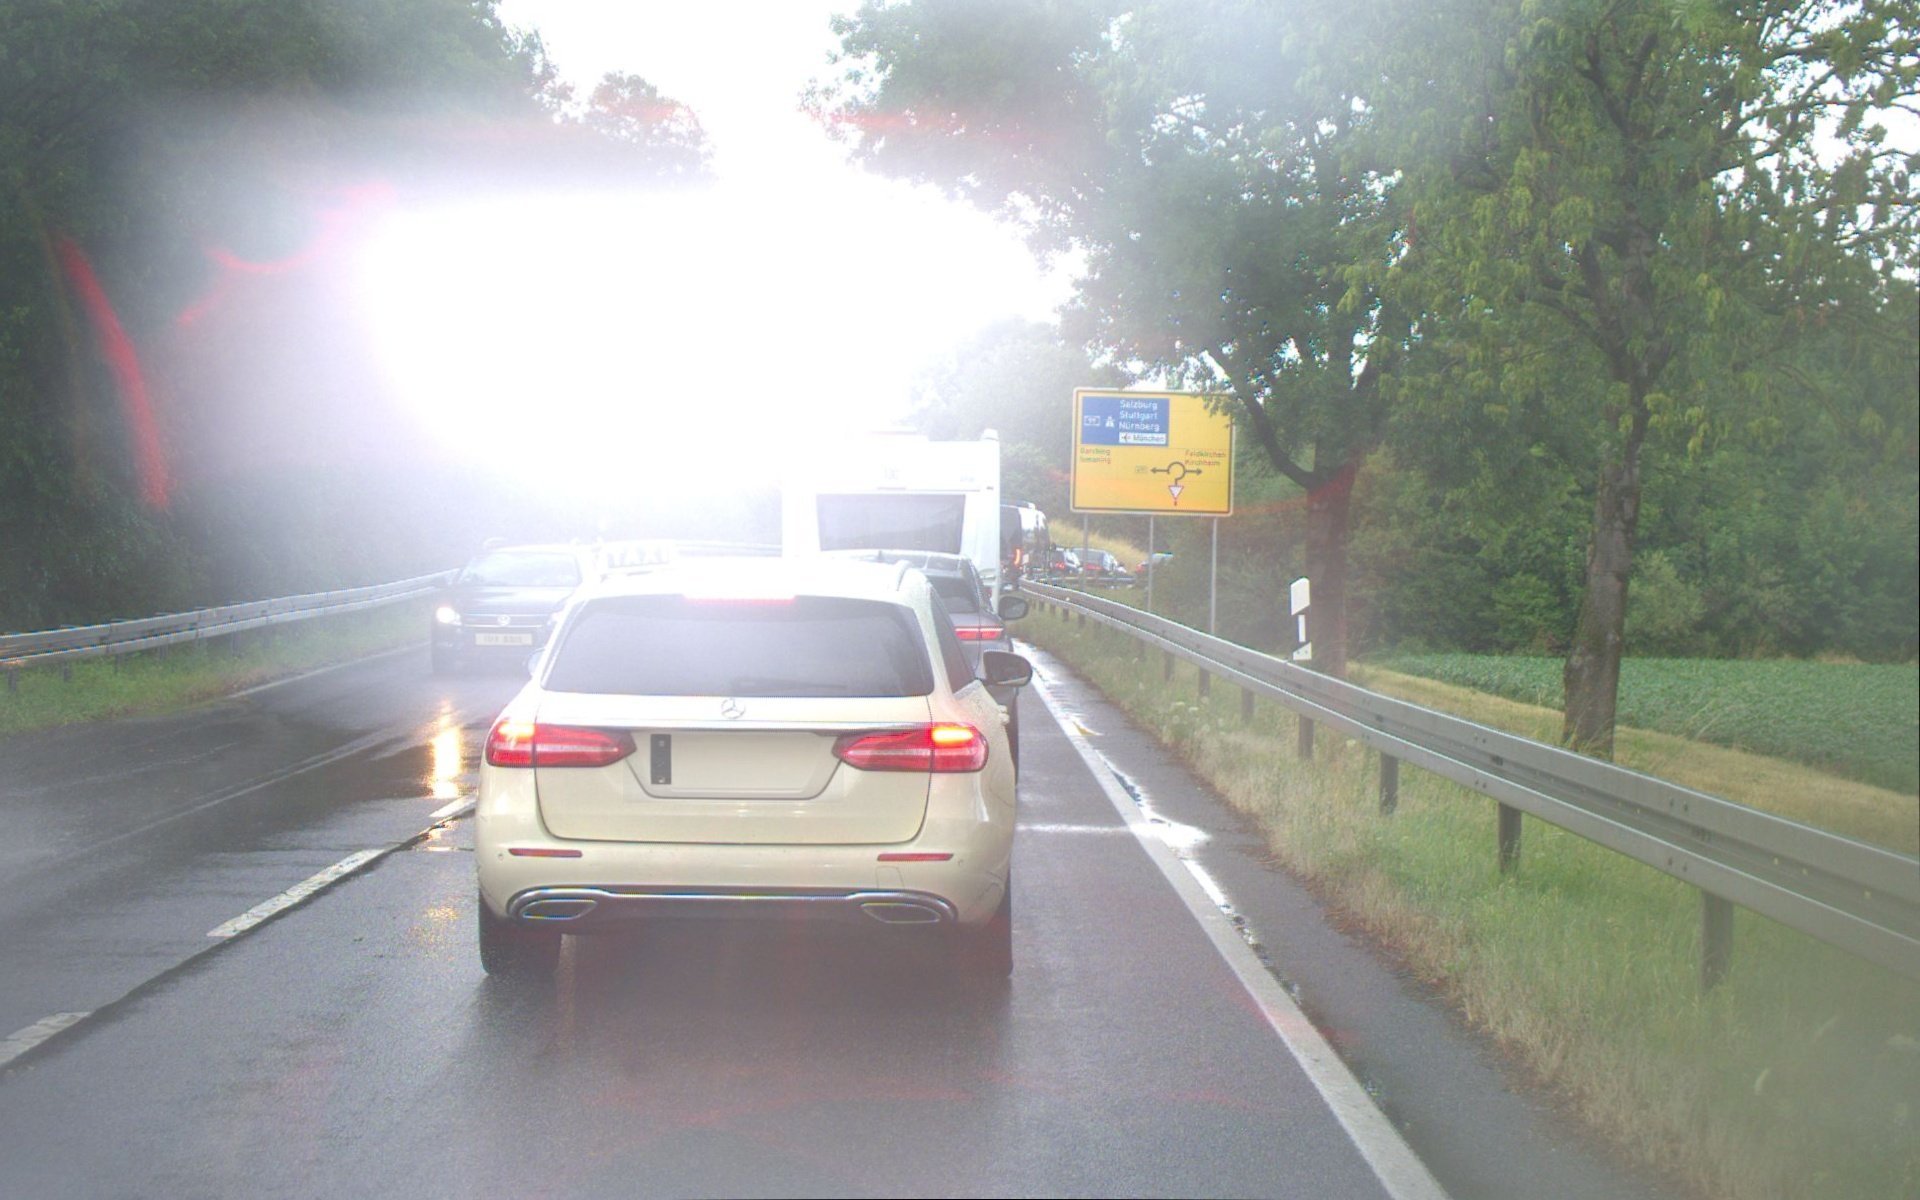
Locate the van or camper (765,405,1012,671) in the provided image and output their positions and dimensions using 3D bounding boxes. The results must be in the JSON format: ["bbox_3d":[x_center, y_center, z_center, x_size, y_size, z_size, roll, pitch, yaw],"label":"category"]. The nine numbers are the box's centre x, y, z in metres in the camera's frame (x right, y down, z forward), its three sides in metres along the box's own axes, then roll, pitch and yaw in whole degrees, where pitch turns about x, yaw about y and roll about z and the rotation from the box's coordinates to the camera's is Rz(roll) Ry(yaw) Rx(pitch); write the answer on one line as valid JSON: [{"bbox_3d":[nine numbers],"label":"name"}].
[{"bbox_3d":[-0.686,-0.680,37.917,2.489,2.676,5.700,1,1,1],"label":"van or camper"}]

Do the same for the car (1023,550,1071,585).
[{"bbox_3d":[2.878,-1.074,114.361,1.551,1.114,4.000,1,0,1],"label":"car"}]

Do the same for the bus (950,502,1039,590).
[{"bbox_3d":[0.784,-1.287,81.053,1.993,2.007,4.000,0,1,-1],"label":"bus"}]

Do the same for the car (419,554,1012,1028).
[{"bbox_3d":[-0.741,0.573,12.813,1.865,1.471,4.000,0,1,1],"label":"car"}]

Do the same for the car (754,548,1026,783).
[{"bbox_3d":[-0.398,0.373,23.022,1.664,1.426,4.000,0,1,1],"label":"car"}]

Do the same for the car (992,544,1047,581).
[{"bbox_3d":[1.803,-1.139,104.924,1.551,1.114,4.000,1,0,-1],"label":"car"}]

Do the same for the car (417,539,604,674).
[{"bbox_3d":[-5.070,0.032,39.176,1.628,1.433,3.960,1,1,-1],"label":"car"}]
